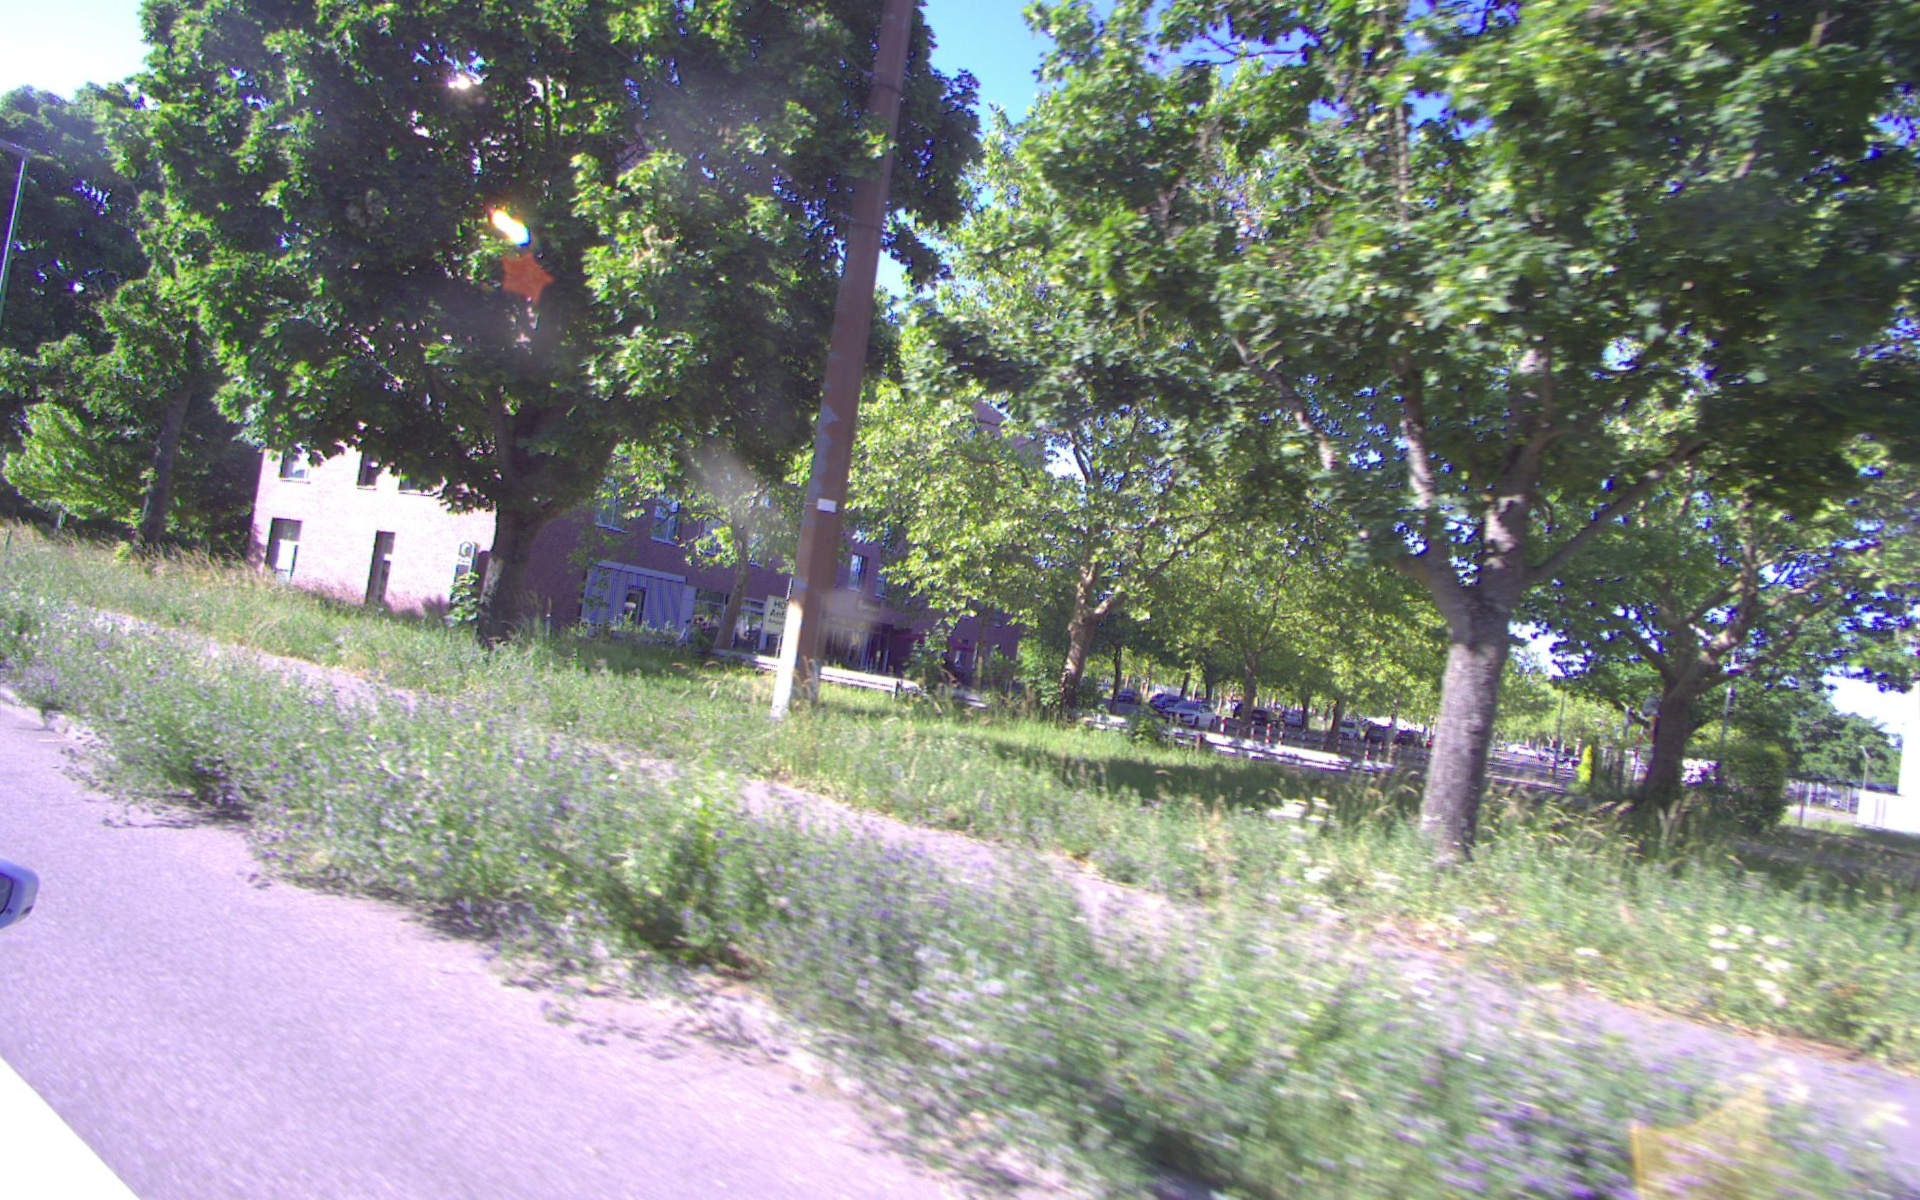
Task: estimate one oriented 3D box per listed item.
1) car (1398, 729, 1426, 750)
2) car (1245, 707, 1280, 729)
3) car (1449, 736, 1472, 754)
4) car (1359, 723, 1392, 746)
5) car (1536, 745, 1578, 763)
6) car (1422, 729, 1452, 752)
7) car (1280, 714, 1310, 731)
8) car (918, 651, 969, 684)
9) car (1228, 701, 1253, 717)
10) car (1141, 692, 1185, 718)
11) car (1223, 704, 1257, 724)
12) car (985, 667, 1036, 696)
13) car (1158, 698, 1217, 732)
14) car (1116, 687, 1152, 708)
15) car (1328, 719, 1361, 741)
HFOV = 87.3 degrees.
[{"bbox_3d":[41.032,12.668,91.195,1.801,1.477,4.232,6,-4,30],"label":"car"},{"bbox_3d":[26.035,10.164,86.504,1.801,1.477,4.232,6,-4,30],"label":"car"},{"bbox_3d":[51.455,14.942,103.410,1.801,1.477,4.232,6,-4,30],"label":"car"},{"bbox_3d":[33.917,11.008,82.080,1.708,1.507,3.997,6,-4,33],"label":"car"},{"bbox_3d":[72.536,18.737,122.250,4.160,1.478,1.832,6,-4,31],"label":"car"},{"bbox_3d":[45.216,13.317,95.291,1.803,1.691,4.226,6,-5,35],"label":"car"},{"bbox_3d":[32.300,11.816,96.869,1.801,1.304,4.232,6,-4,30],"label":"car"},{"bbox_3d":[-1.129,4.764,70.929,1.839,1.848,4.004,7,-4,24],"label":"car"},{"bbox_3d":[33.656,13.038,120.508,1.801,1.477,4.232,6,-4,30],"label":"car"},{"bbox_3d":[14.902,7.714,73.617,1.801,1.477,4.232,6,-4,30],"label":"car"},{"bbox_3d":[27.431,11.125,98.432,1.843,1.507,3.996,6,-4,34],"label":"car"},{"bbox_3d":[3.562,5.682,69.967,1.841,1.507,4.001,7,-4,28],"label":"car"},{"bbox_3d":[12.577,6.350,55.337,1.801,1.413,4.526,6,-4,30],"label":"car"},{"bbox_3d":[16.098,9.050,92.946,1.801,1.477,4.232,6,-4,30],"label":"car"},{"bbox_3d":[31.892,10.785,83.415,1.801,1.477,4.232,6,-4,30],"label":"car"}]
